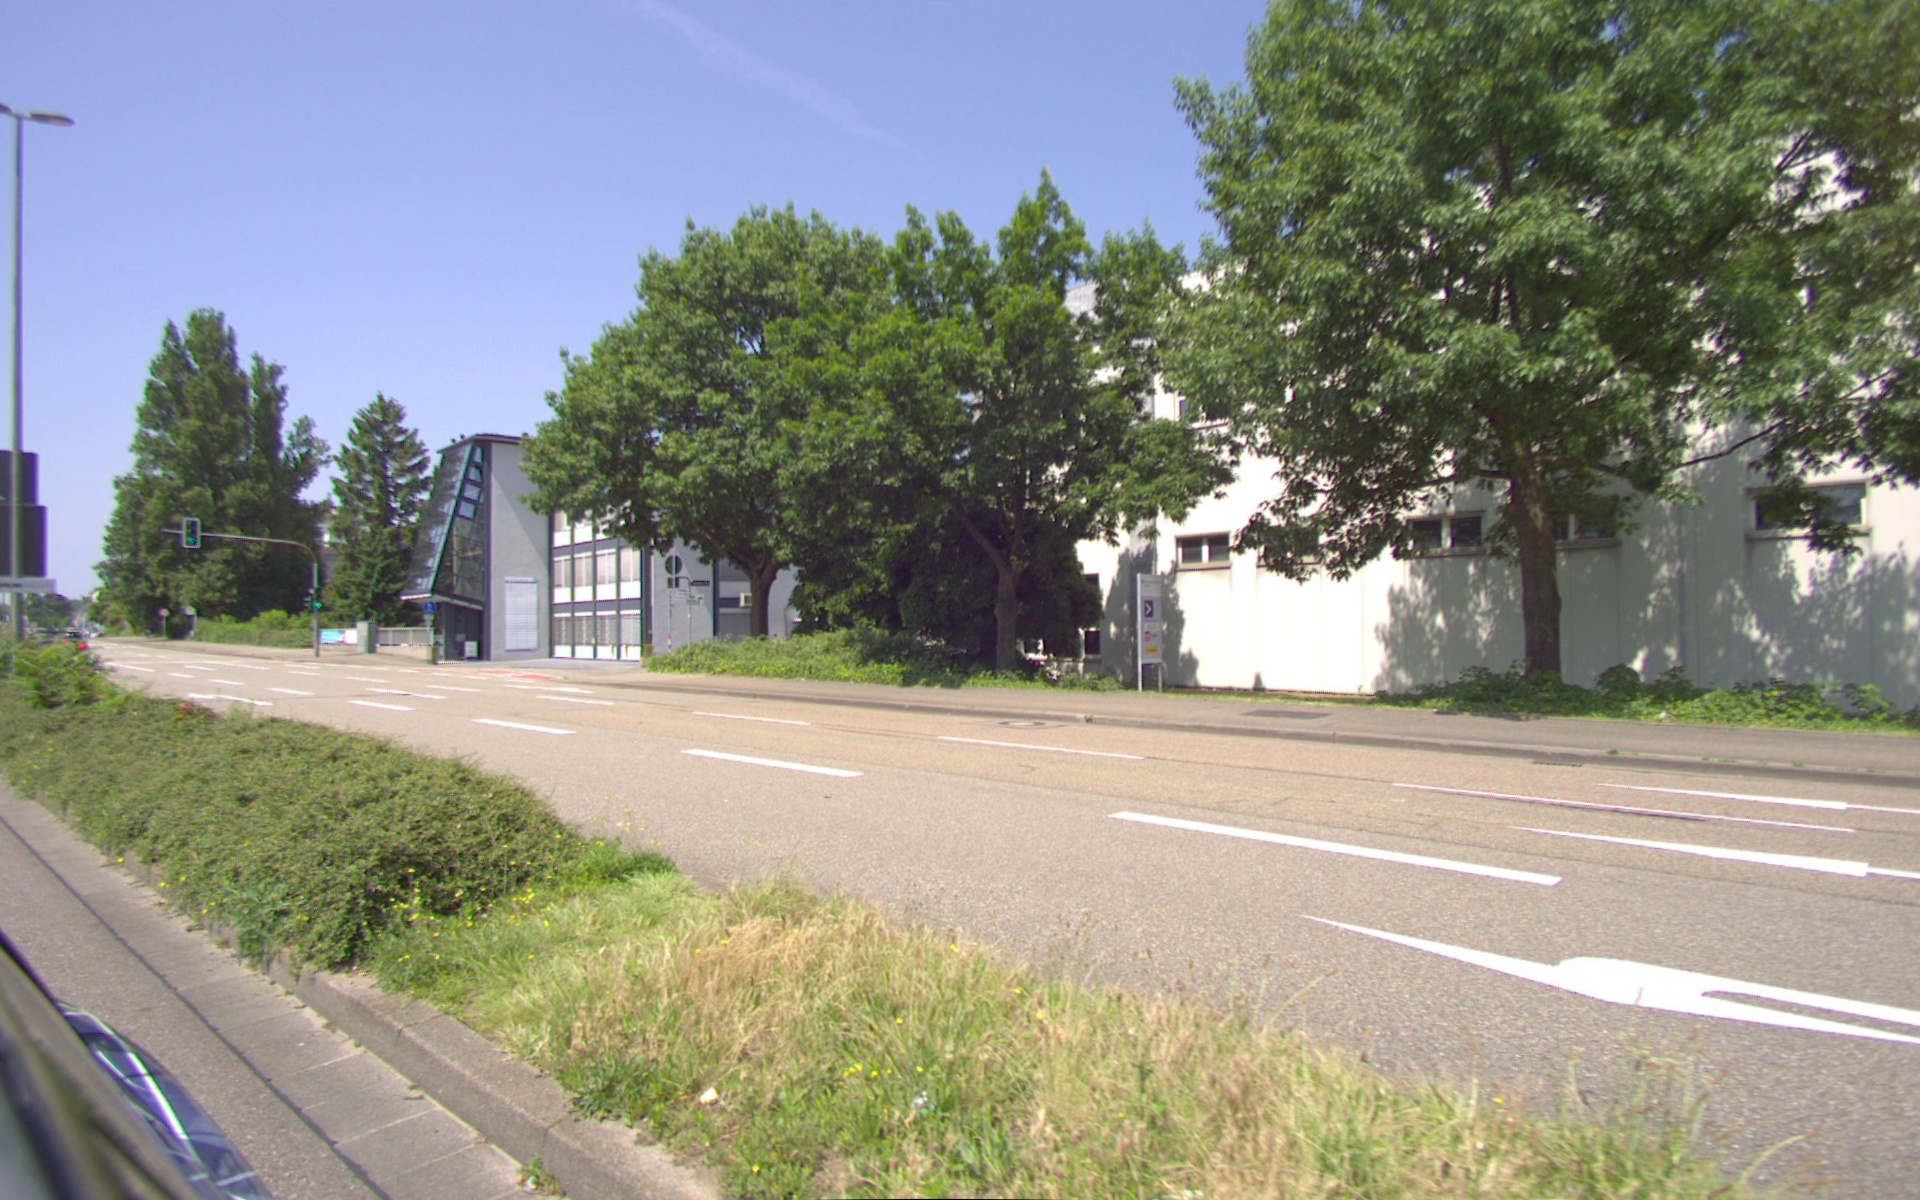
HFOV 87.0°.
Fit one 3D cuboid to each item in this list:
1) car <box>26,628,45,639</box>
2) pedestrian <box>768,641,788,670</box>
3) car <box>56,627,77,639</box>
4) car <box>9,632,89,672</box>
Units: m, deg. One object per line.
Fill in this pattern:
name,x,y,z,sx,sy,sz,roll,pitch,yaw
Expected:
car,-135.904,4.941,148.722,4.092,1.429,1.739,-1,-4,44
pedestrian,-10.203,3.100,56.675,0.858,1.637,0.676,-1,-3,35
car,-128.790,4.736,145.821,4.288,1.572,1.872,-2,-4,44
car,-33.193,1.867,36.858,4.148,1.334,1.710,-1,-3,42
